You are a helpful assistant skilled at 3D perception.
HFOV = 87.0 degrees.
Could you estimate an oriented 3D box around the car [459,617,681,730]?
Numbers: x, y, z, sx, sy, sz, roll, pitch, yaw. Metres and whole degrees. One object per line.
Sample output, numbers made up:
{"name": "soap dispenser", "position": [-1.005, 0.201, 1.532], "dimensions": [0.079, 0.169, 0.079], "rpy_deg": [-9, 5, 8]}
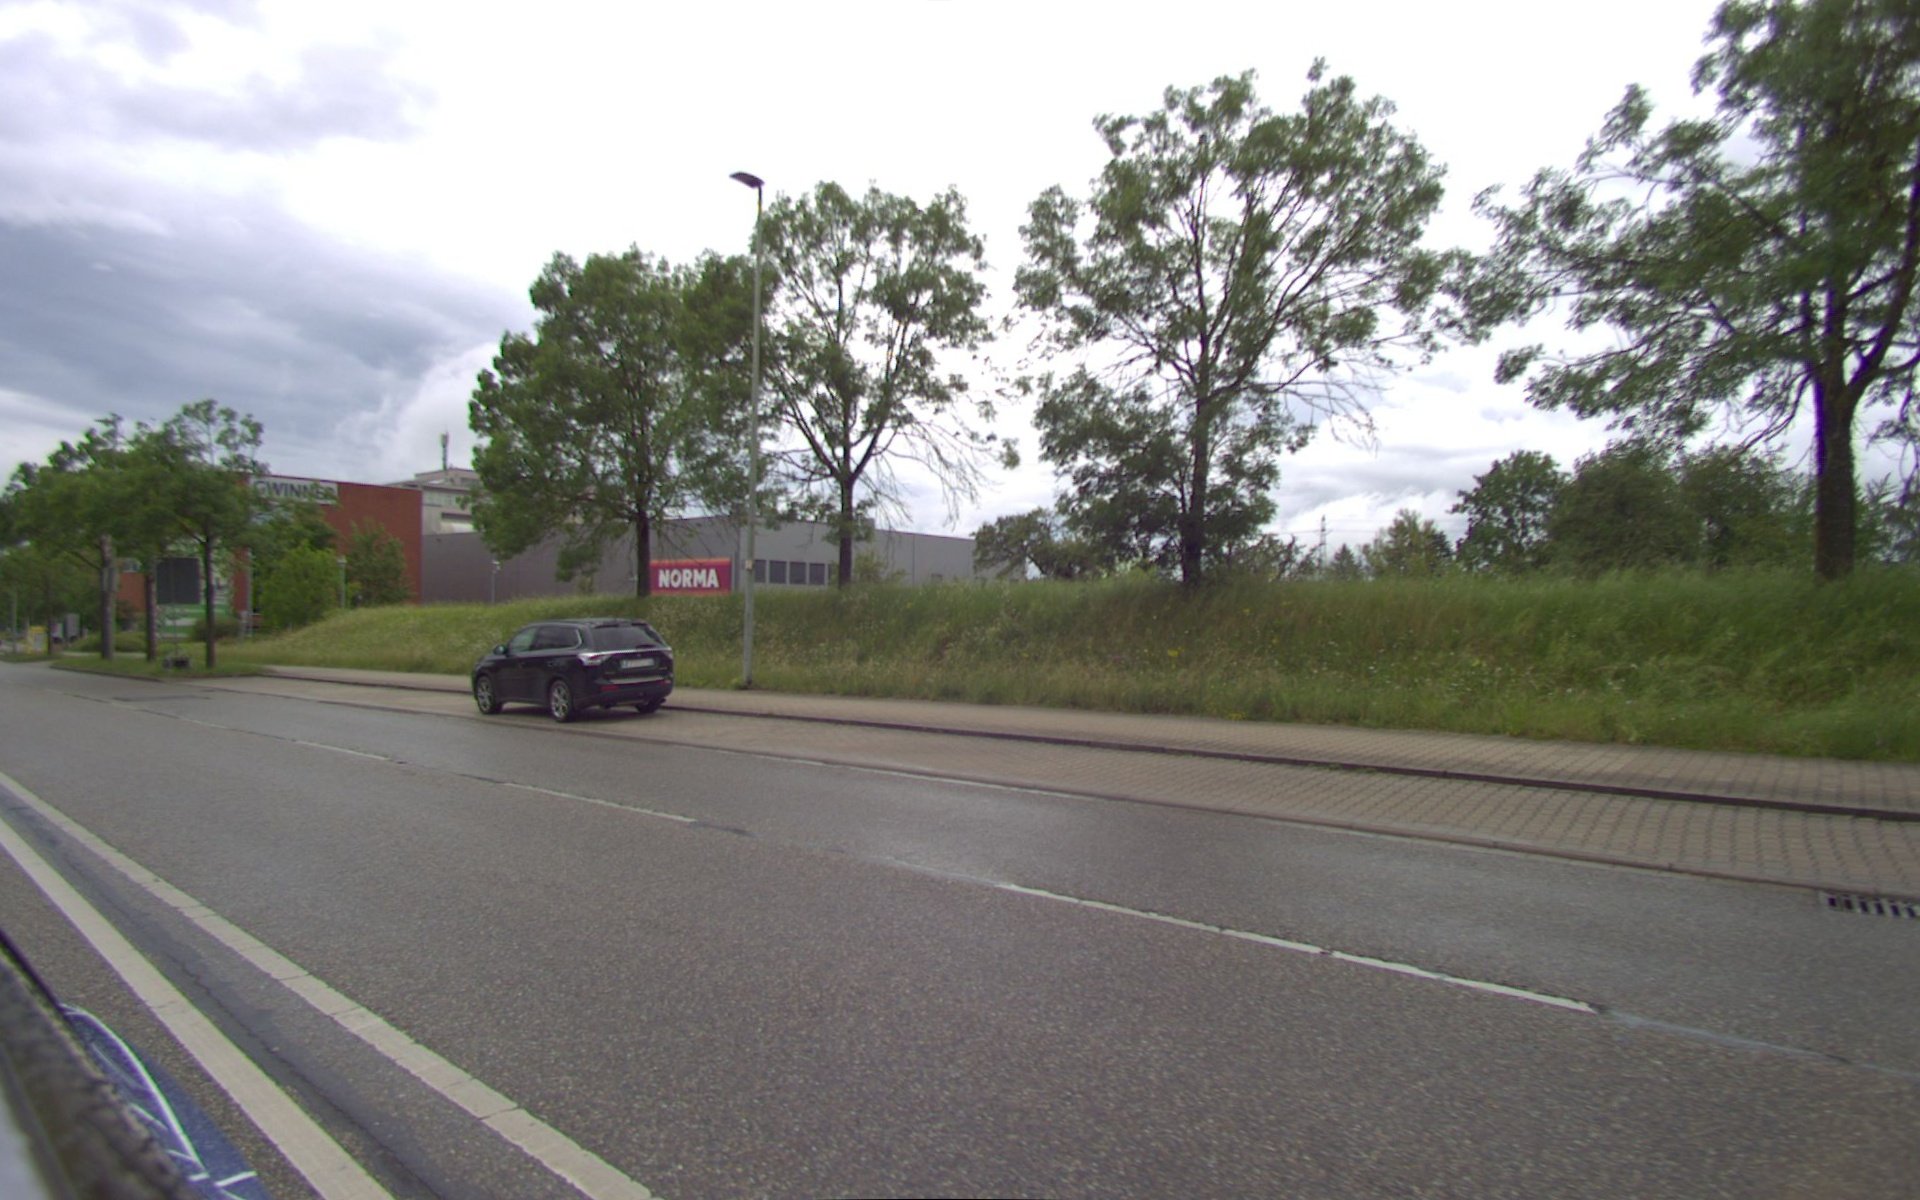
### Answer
{"name": "car", "position": [-6.882, 1.183, 17.610], "dimensions": [4.485, 1.681, 1.708], "rpy_deg": [-2, 0, 41]}
